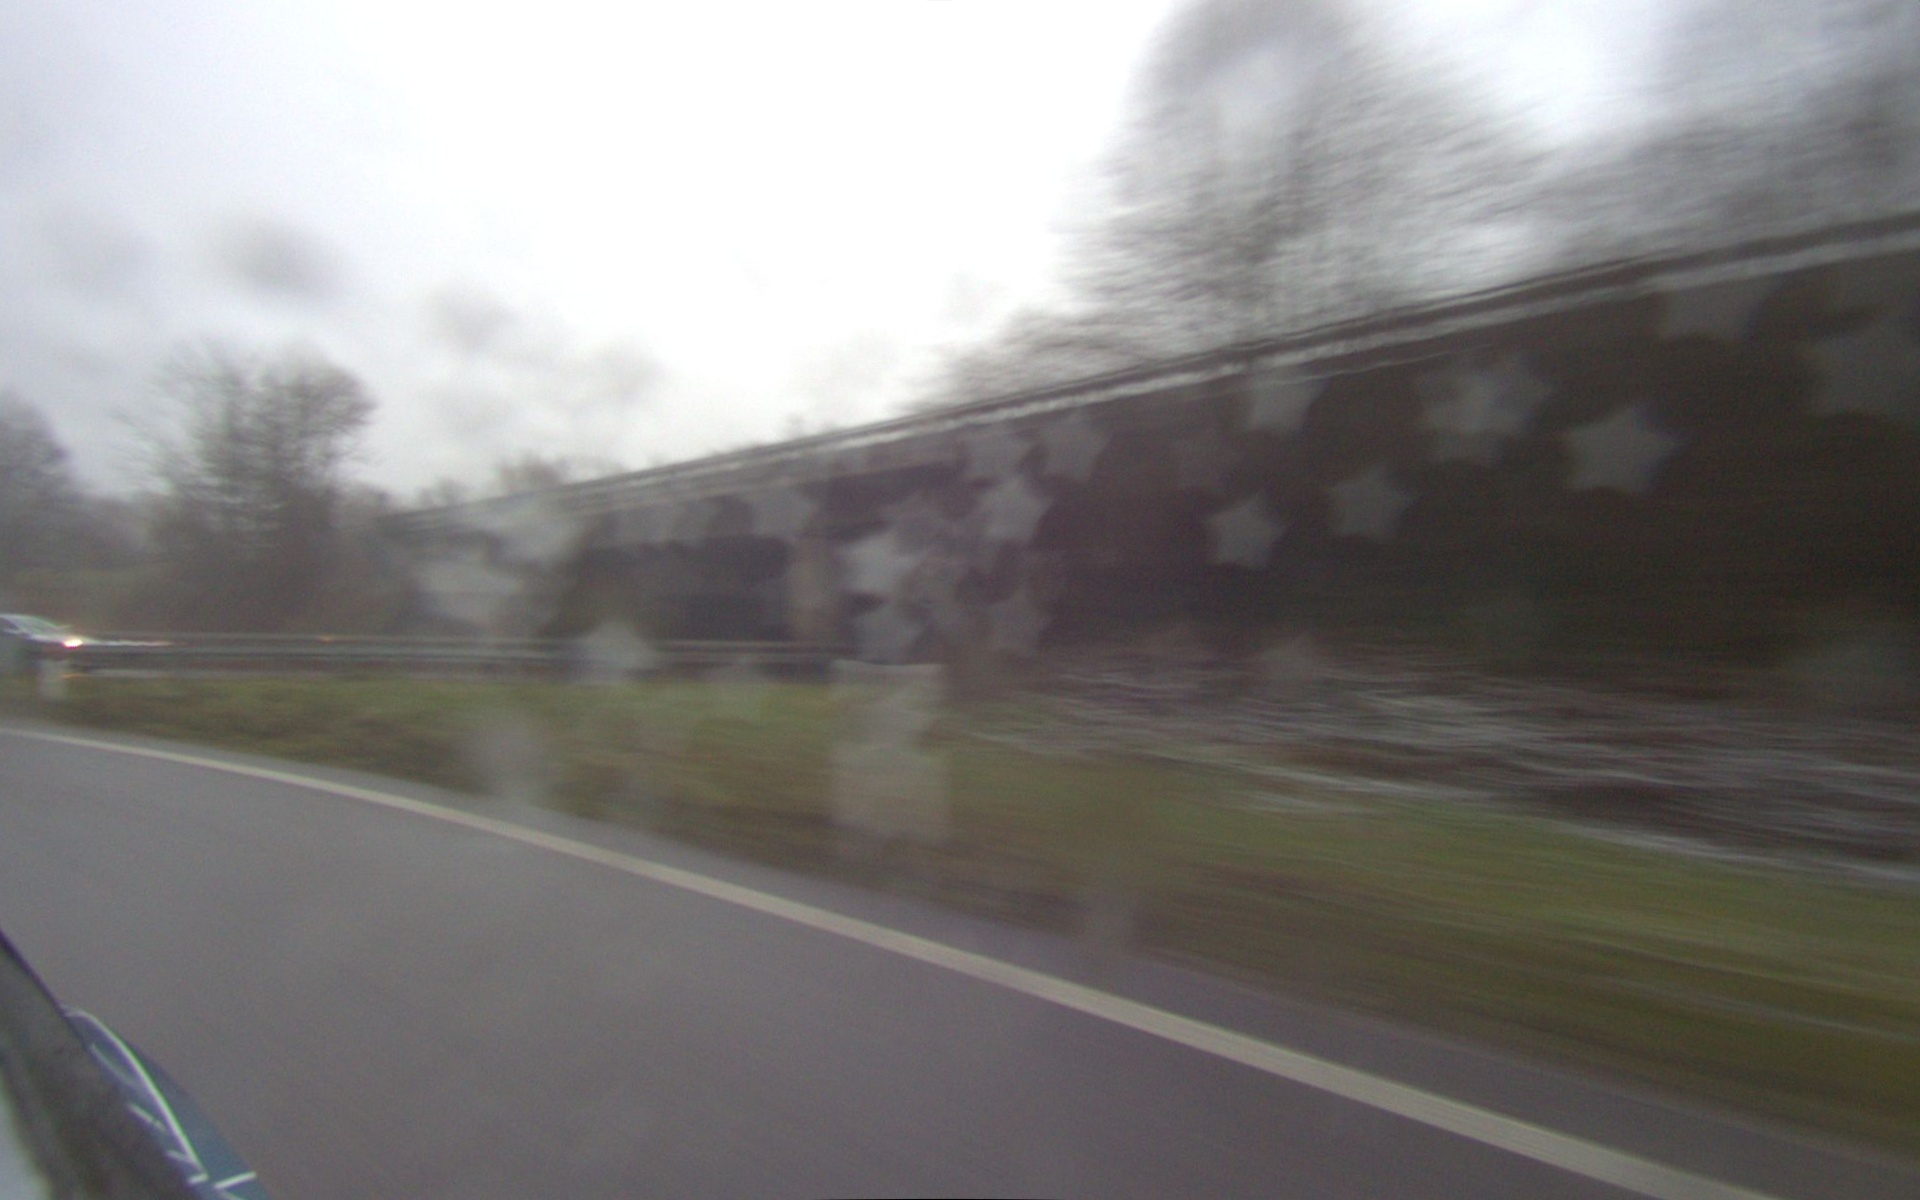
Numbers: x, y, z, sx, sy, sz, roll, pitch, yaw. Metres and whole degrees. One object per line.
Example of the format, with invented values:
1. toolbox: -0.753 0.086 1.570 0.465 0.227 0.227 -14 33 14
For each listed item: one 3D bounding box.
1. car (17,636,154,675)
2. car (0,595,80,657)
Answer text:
1. car: -37.125 2.332 43.052 3.936 1.570 2.003 0 -2 -8
2. car: -24.840 0.646 25.400 3.812 1.523 1.658 1 -3 -9
